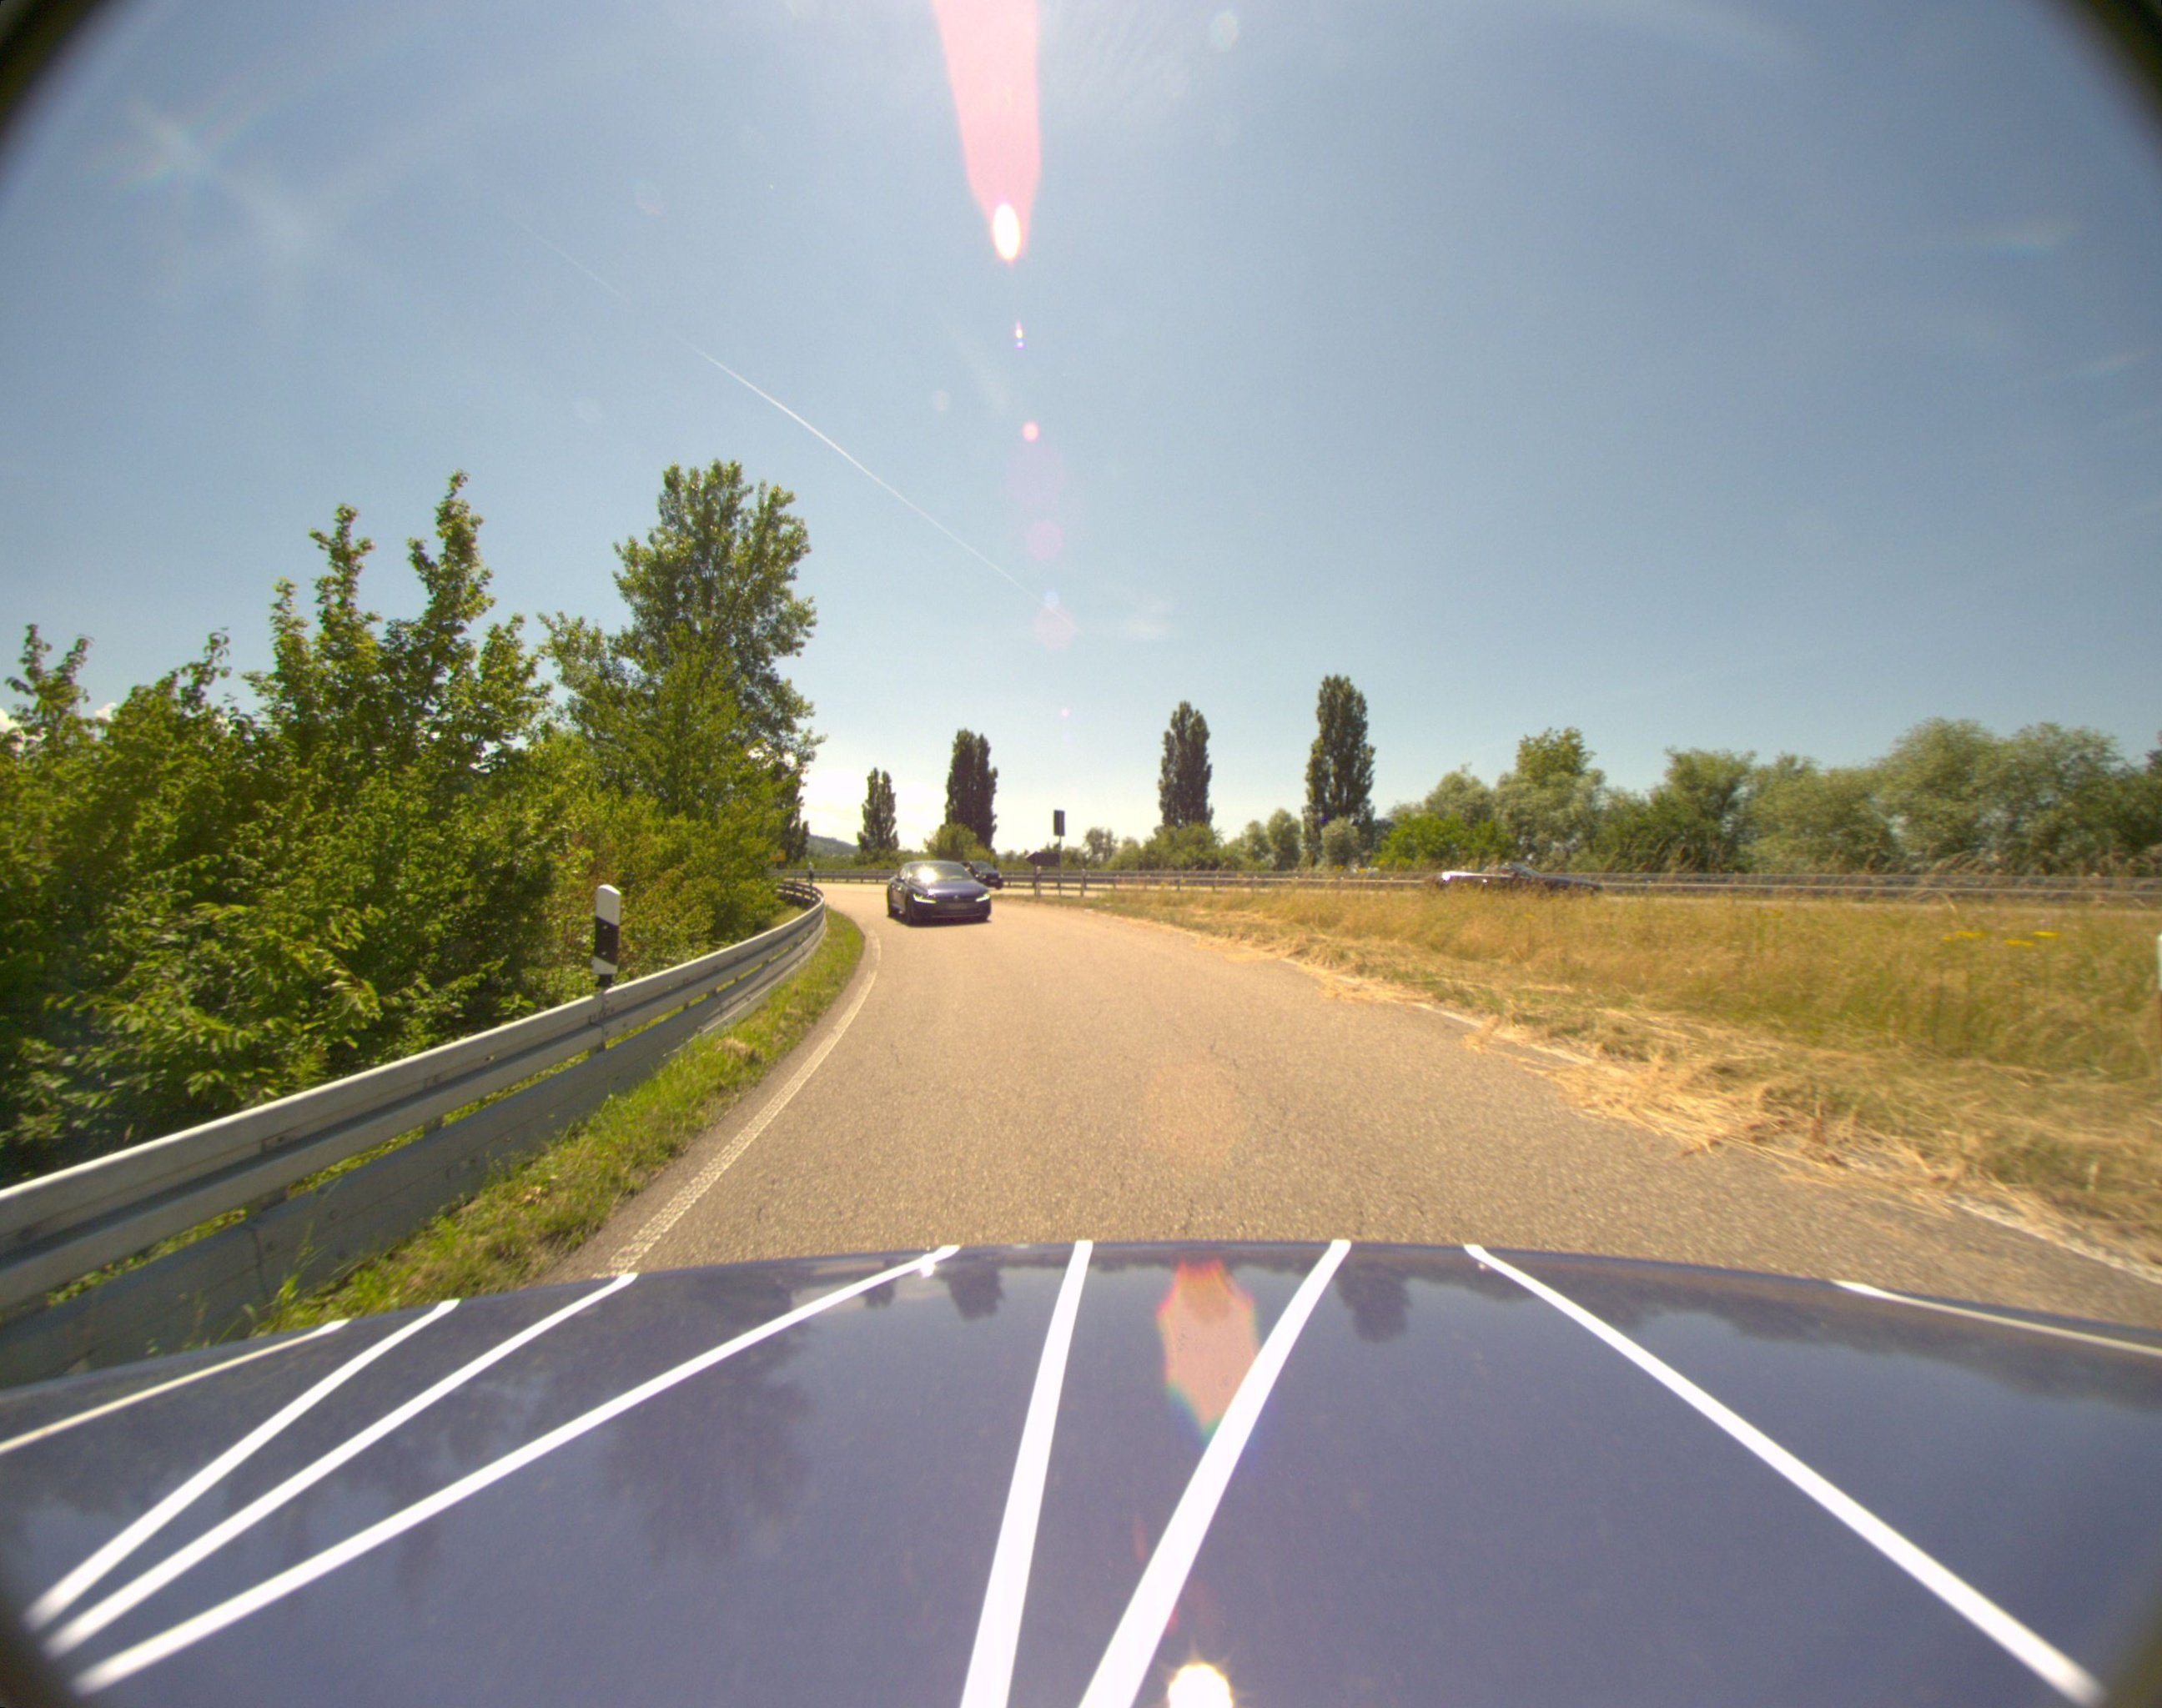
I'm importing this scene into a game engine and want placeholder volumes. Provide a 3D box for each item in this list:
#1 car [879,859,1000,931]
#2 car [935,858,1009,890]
[{"bbox_3d":[-3.628,0.917,18.753,1.846,1.422,4.525,-4,1,-24],"label":"car"},{"bbox_3d":[-5.926,1.062,40.969,3.989,1.602,1.835,-2,0,43],"label":"car"}]
